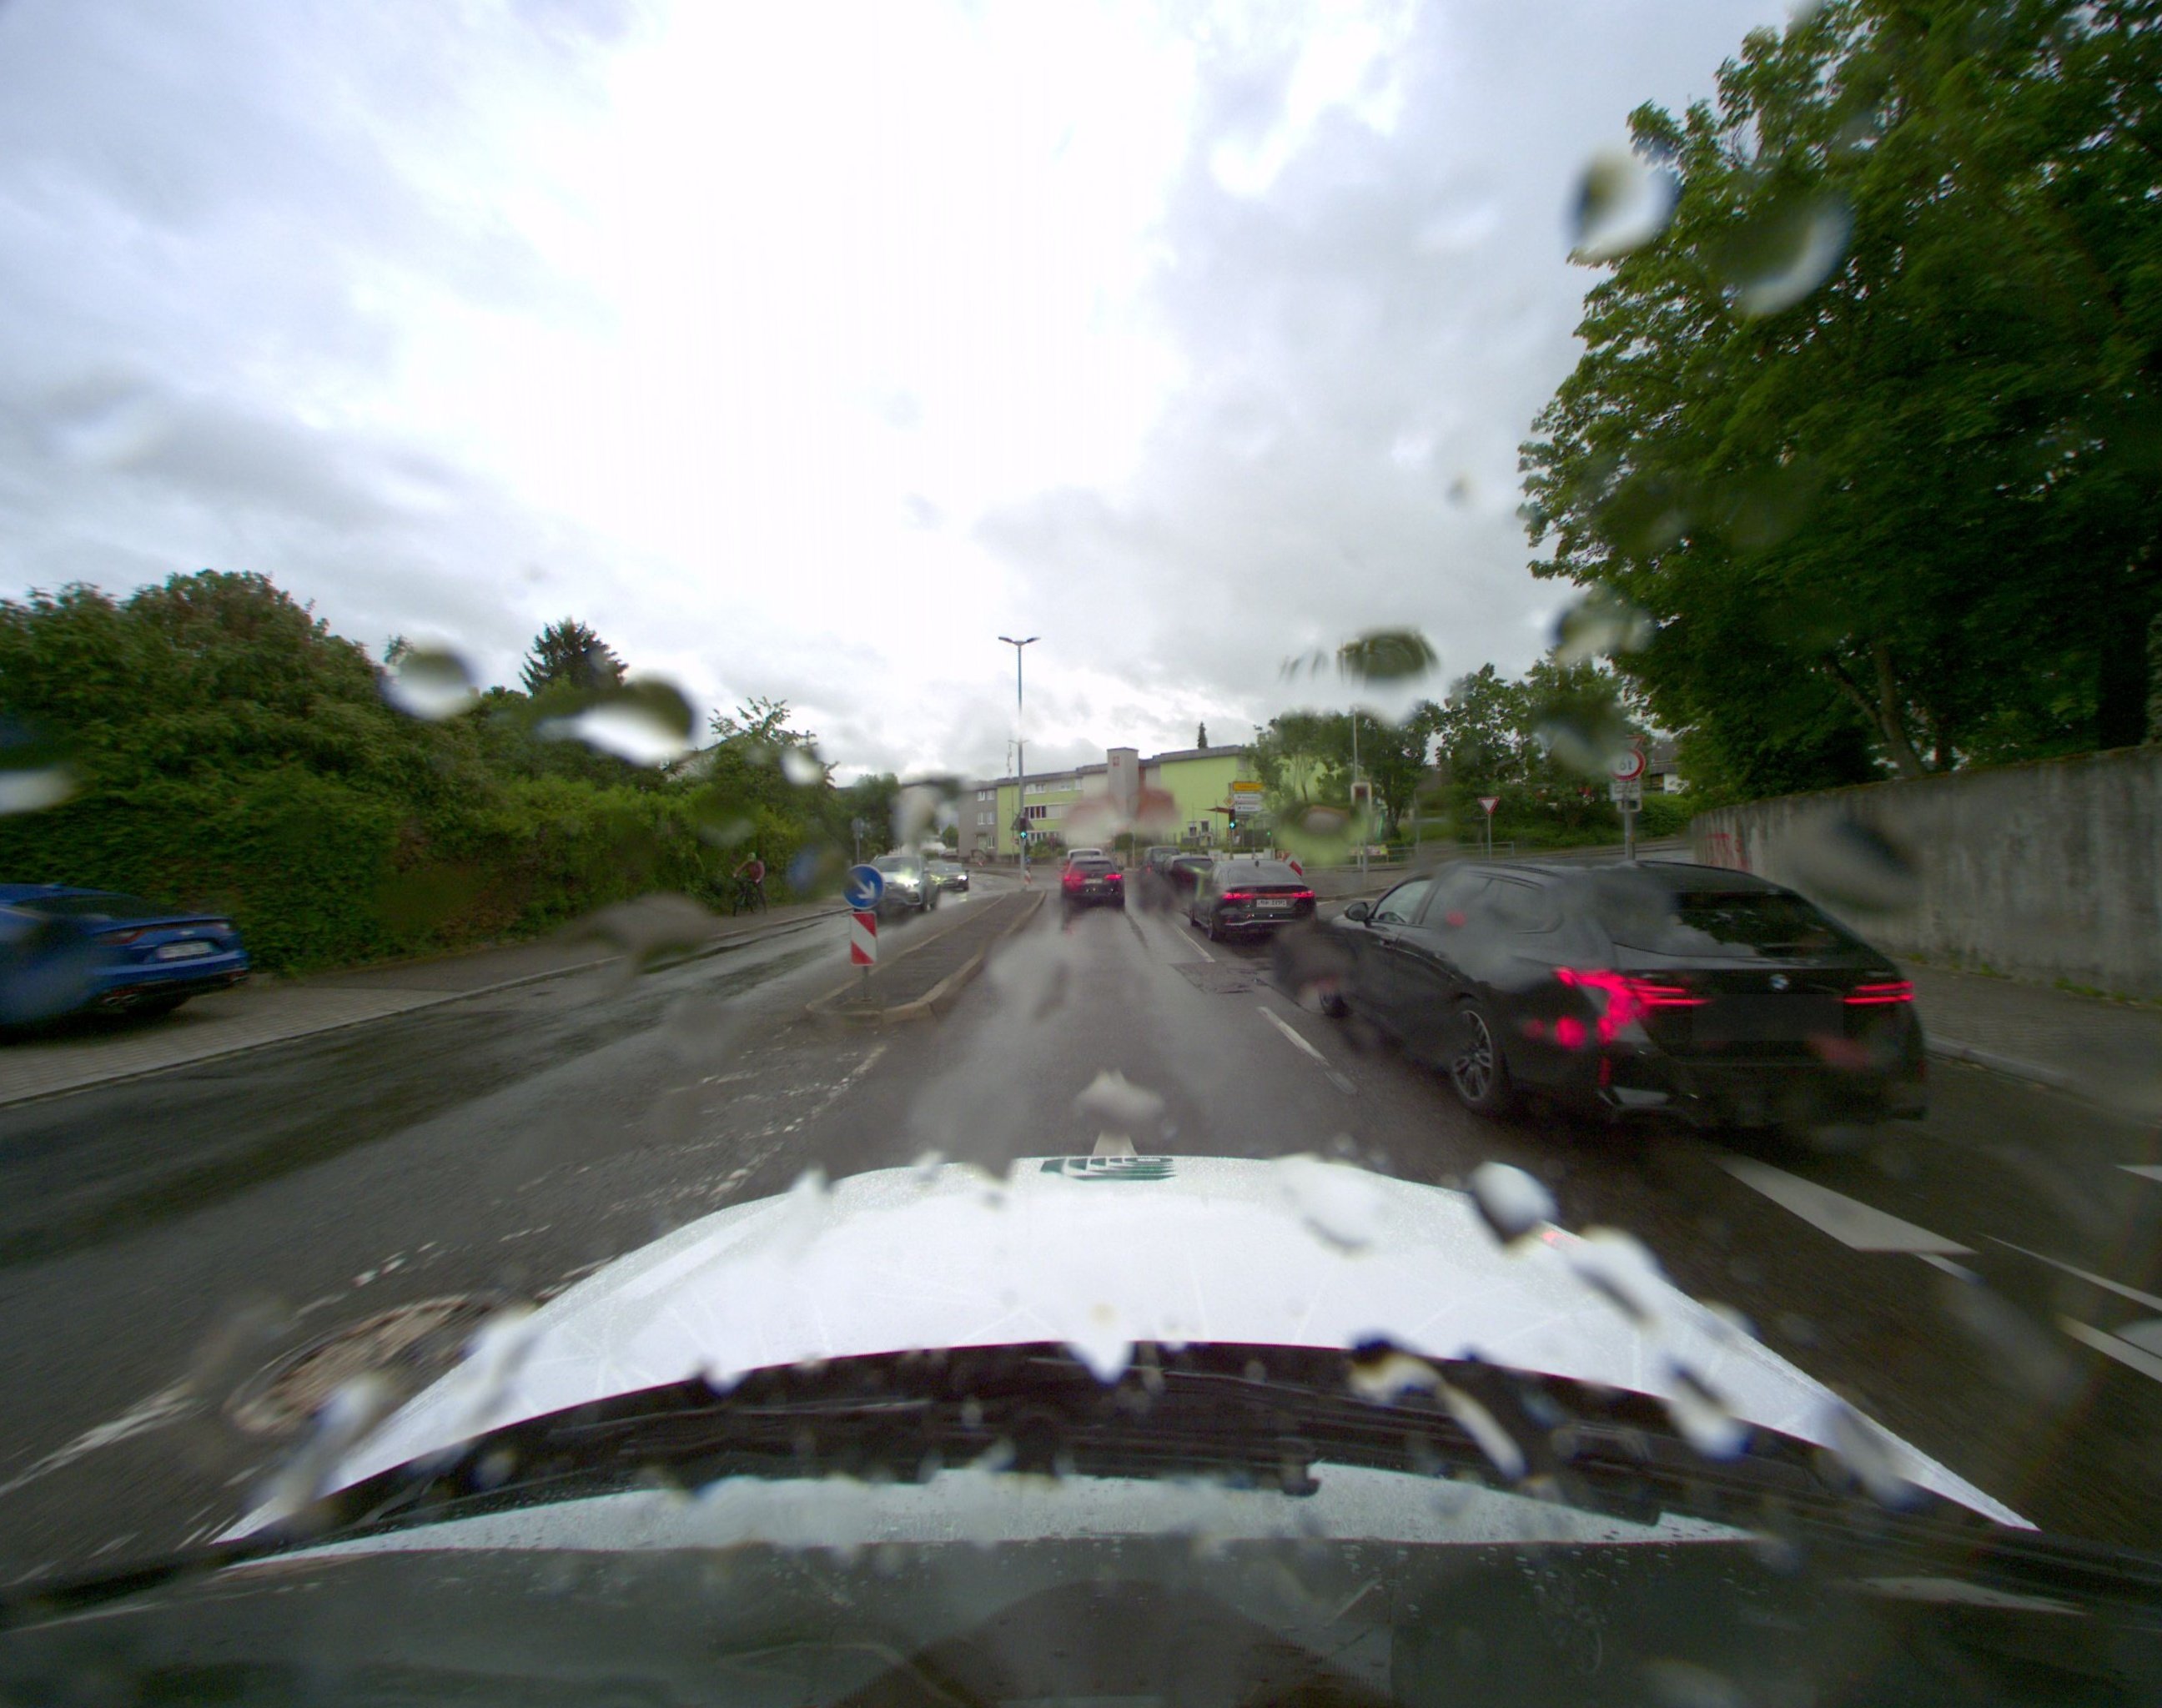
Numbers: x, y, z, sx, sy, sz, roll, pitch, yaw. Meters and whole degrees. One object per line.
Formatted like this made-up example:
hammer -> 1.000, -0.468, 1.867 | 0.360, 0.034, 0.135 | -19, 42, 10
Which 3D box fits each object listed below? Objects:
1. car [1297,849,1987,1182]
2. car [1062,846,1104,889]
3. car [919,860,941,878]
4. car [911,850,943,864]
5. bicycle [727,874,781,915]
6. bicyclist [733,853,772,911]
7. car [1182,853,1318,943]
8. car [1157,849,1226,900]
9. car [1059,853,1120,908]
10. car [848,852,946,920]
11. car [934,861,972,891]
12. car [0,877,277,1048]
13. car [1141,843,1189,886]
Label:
car -> 3.202, 0.721, 6.111 | 1.899, 1.458, 4.778 | -2, 0, 0
car -> 0.032, 0.597, 38.644 | 1.713, 1.844, 4.082 | -3, 1, -3
car -> -13.530, 1.334, 72.912 | 1.793, 1.489, 4.139 | -4, 0, -10
car -> -22.973, 0.459, 121.529 | 4.405, 1.772, 1.989 | -4, 0, -17
bicycle -> -9.359, 1.129, 23.375 | 0.744, 1.086, 1.988 | 0, 0, 0
bicyclist -> -9.345, 0.774, 23.201 | 0.762, 1.612, 0.868 | 0, 0, -1
car -> 3.087, 0.727, 15.780 | 1.701, 1.427, 4.509 | -2, 0, 0
car -> 3.611, 0.633, 27.197 | 1.843, 1.486, 4.089 | -2, 0, 2
car -> 0.193, 0.767, 25.278 | 1.678, 1.506, 3.770 | -2, 0, -2
car -> -5.348, 0.862, 24.278 | 2.036, 1.716, 4.477 | -3, 1, -3
car -> -6.855, 1.149, 44.024 | 1.736, 1.437, 4.546 | -3, 0, -7
car -> -10.874, 0.948, 7.696 | 4.476, 1.362, 1.802 | 1, 1, -6
car -> 3.667, 0.424, 36.126 | 1.776, 1.734, 4.089 | -2, 0, 2
